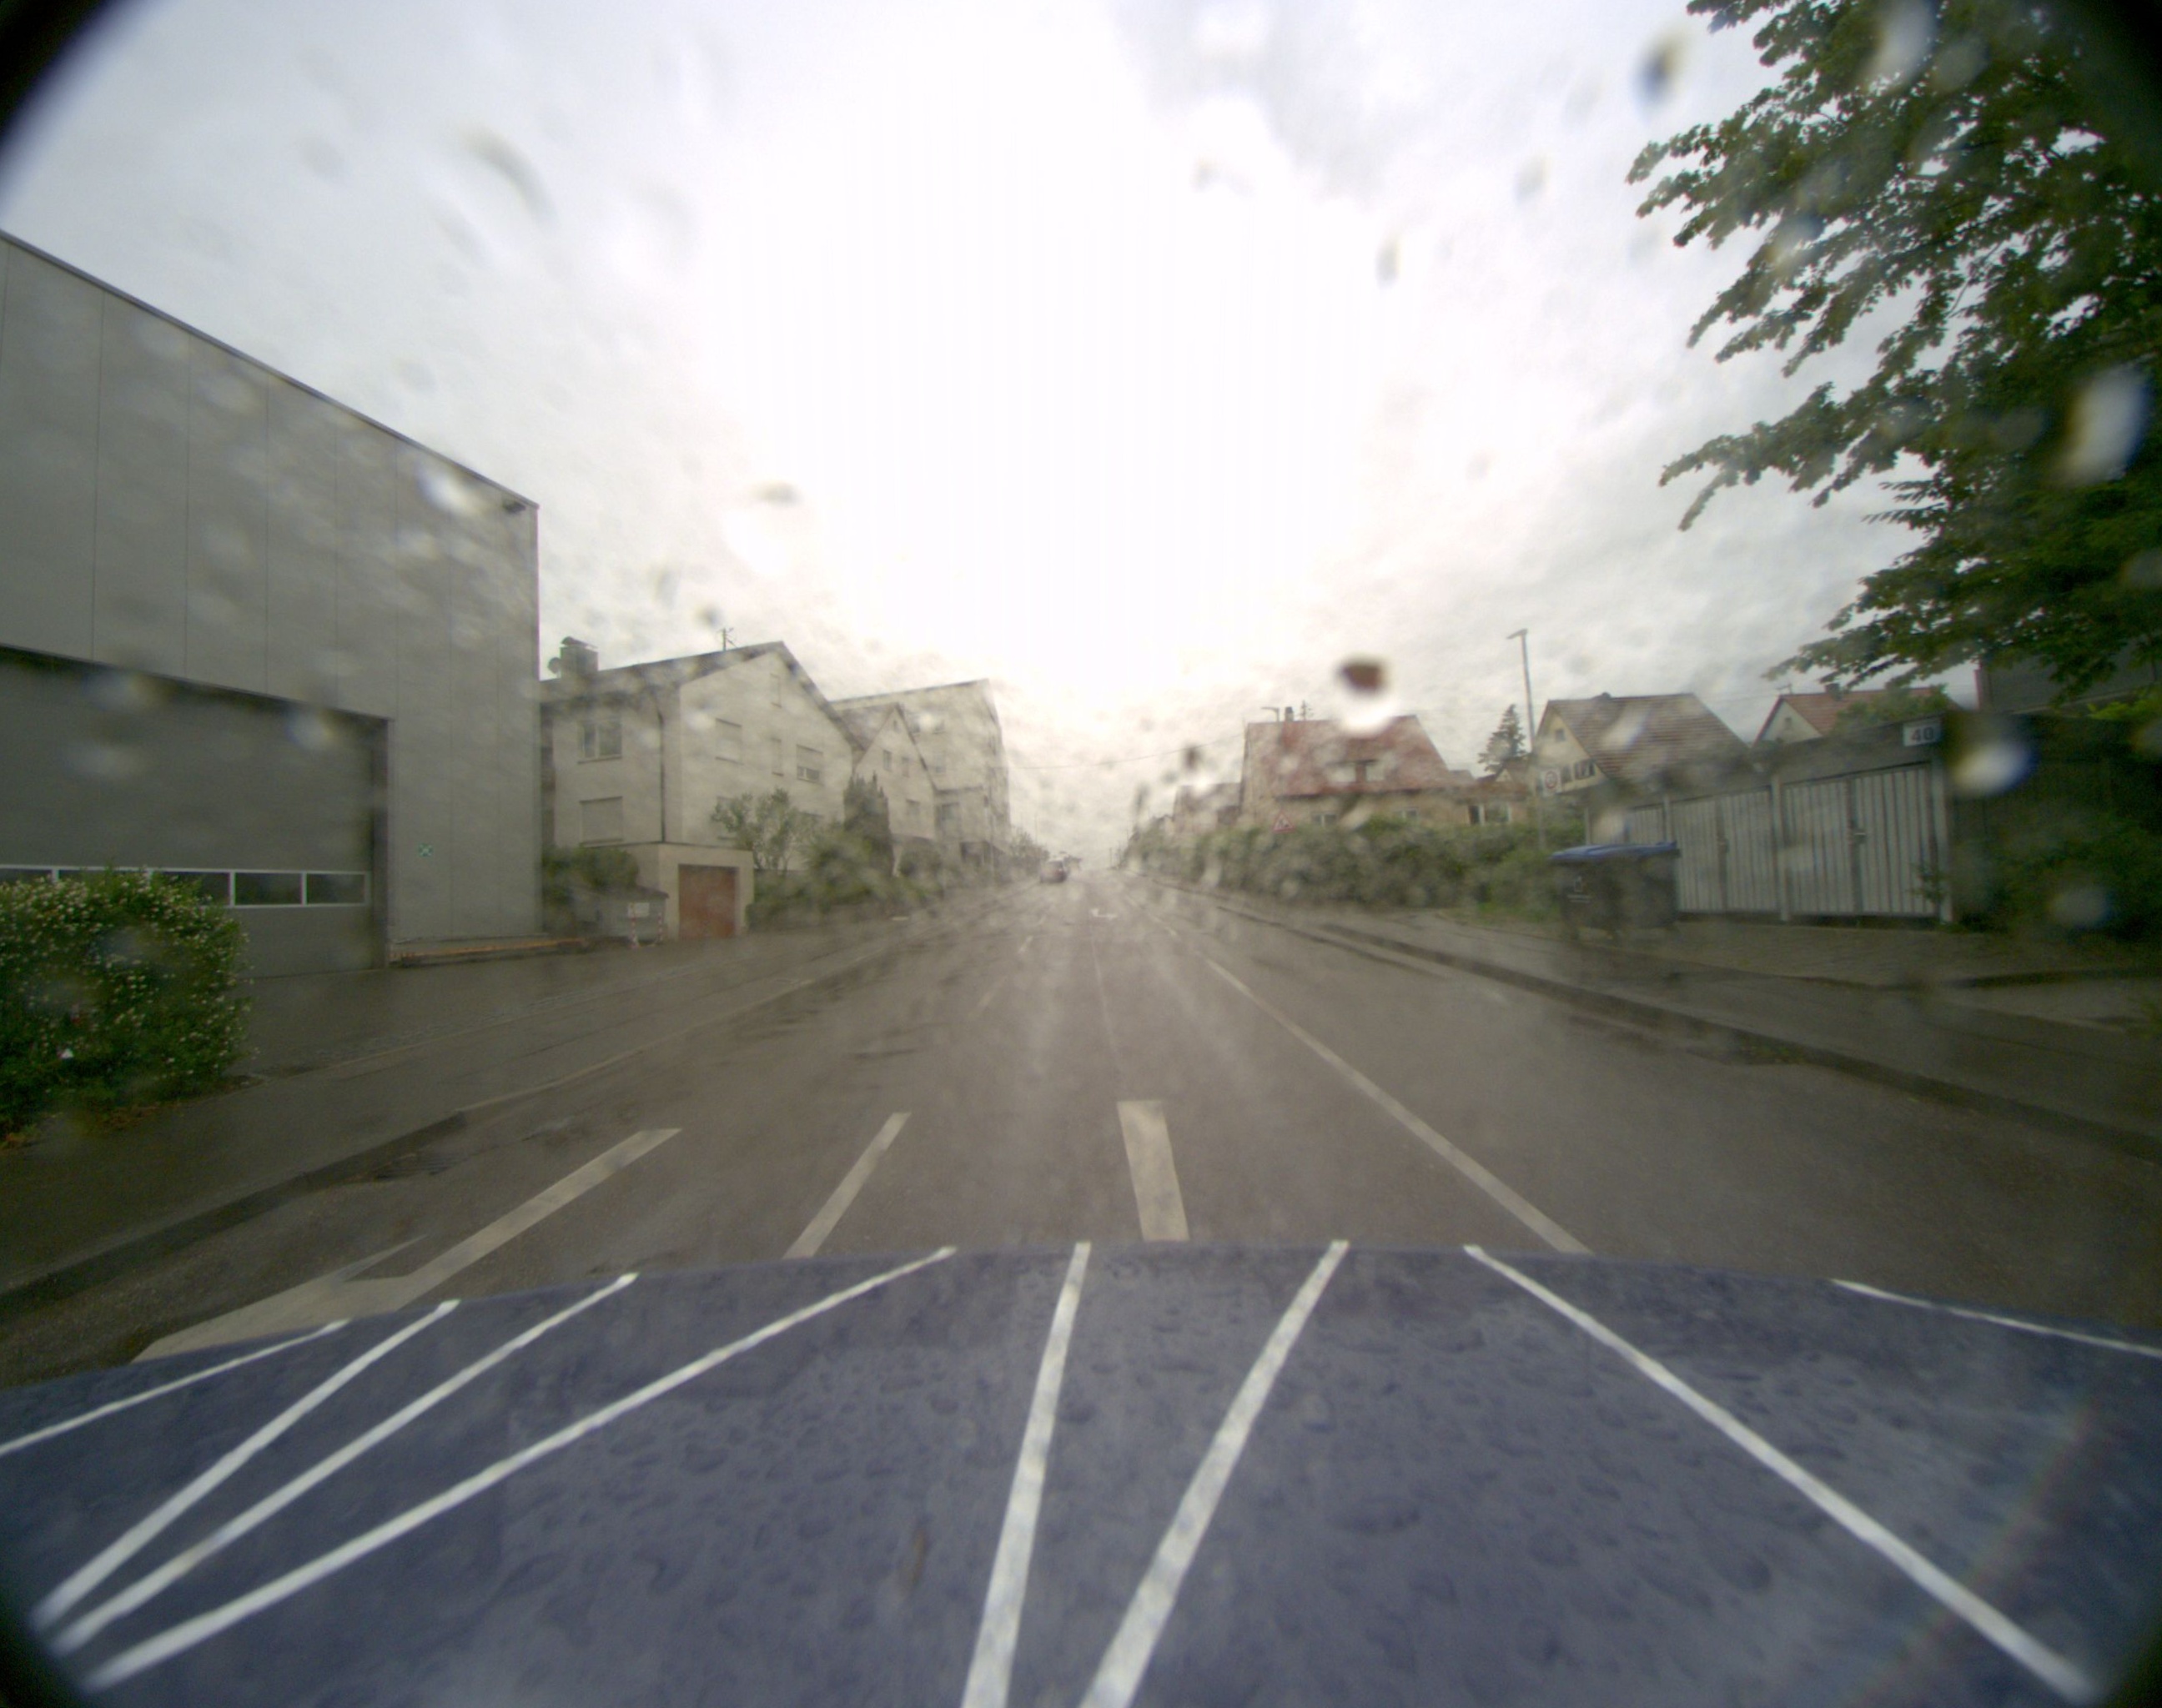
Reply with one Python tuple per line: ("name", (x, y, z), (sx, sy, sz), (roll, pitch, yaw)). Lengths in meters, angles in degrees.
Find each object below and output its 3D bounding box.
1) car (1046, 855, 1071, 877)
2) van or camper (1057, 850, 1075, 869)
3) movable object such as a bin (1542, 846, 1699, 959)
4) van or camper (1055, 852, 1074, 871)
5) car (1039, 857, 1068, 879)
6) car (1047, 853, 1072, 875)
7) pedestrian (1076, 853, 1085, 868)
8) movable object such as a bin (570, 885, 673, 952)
("car", (-1.950, 1.012, 66.685), (1.883, 1.823, 4.489), (-3, 0, 1))
("van or camper", (-1.820, 0.661, 92.342), (1.998, 2.229, 5.441), (-2, 0, 0))
("movable object such as a bin", (7.171, 0.614, 10.193), (1.074, 1.339, 1.319), (-4, 0, -1))
("van or camper", (-1.837, 0.848, 86.264), (1.998, 2.101, 5.203), (-2, 0, 0))
("car", (-2.169, 1.099, 61.459), (1.998, 1.635, 4.958), (-3, 0, 1))
("car", (-2.004, 0.911, 72.463), (1.998, 1.923, 4.976), (-3, 0, 1))
("pedestrian", (-0.058, 0.897, 102.272), (1.063, 1.924, 1.091), (-3, 0, -3))
("movable object such as a bin", (-11.447, 1.573, 18.992), (1.263, 1.509, 1.781), (-2, 0, 16))
